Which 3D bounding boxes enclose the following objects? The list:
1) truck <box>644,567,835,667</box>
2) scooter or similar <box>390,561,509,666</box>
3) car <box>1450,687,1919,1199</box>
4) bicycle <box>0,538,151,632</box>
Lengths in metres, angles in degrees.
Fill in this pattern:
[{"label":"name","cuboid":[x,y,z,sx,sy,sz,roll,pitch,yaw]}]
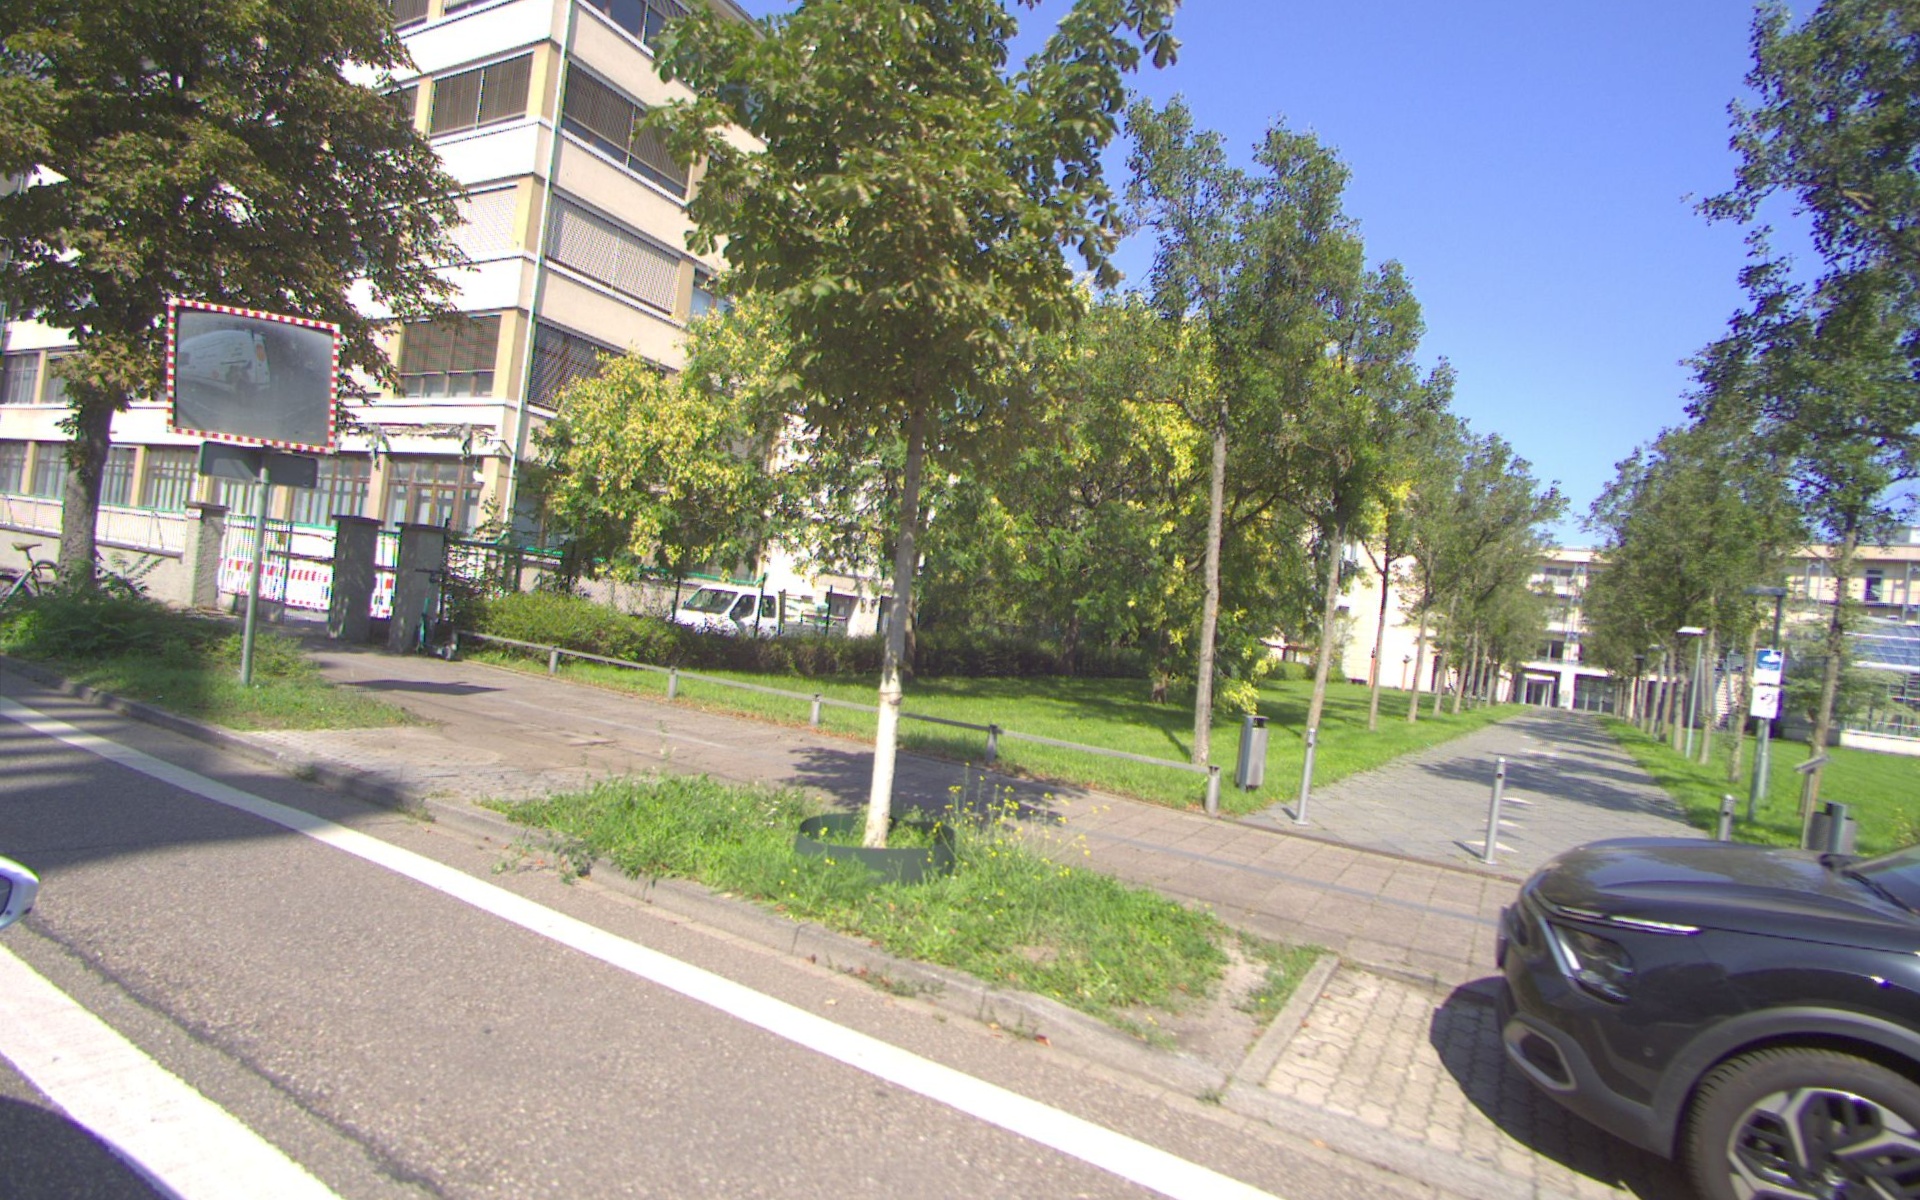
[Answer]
[{"label":"truck","cuboid":[-6.545,0.605,30.575,2.261,2.352,5.517,6,-2,32]},{"label":"scooter or similar","cuboid":[-7.248,0.181,14.248,1.788,1.274,0.557,6,-1,33]},{"label":"car","cuboid":[4.038,1.323,2.880,4.531,1.534,1.759,6,0,30]},{"label":"bicycle","cuboid":[-11.077,-0.189,12.204,0.548,0.969,1.816,7,-2,30]}]
